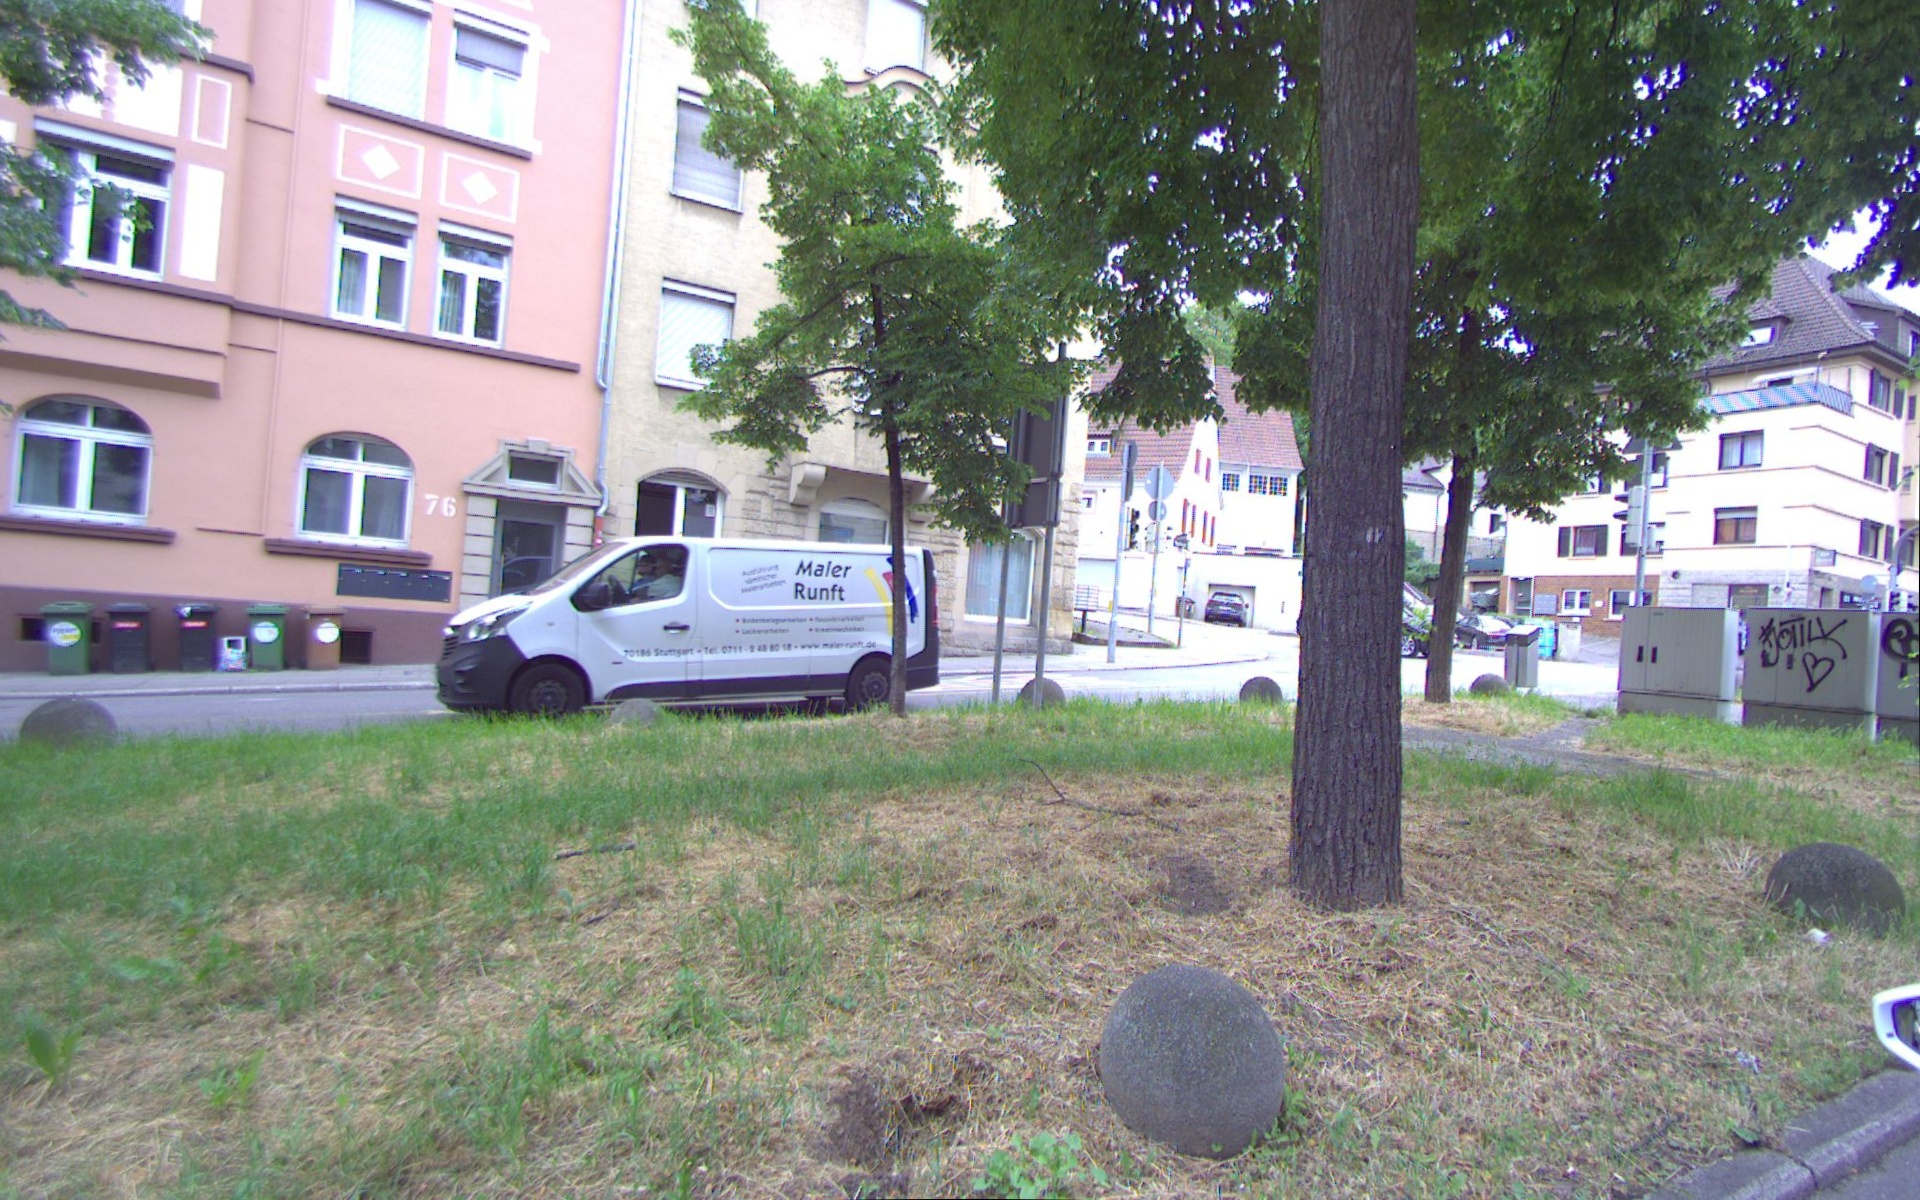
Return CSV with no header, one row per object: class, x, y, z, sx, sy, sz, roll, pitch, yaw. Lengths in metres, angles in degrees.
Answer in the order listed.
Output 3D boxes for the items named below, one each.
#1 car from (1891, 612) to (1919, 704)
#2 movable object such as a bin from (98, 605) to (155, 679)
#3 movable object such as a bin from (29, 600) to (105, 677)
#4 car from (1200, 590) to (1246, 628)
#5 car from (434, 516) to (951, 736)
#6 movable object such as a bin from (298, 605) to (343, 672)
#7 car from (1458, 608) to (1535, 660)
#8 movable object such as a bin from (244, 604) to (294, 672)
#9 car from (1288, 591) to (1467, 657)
car,18.720,1.119,16.877,1.674,1.615,4.222,3,0,-35
movable object such as a bin,-11.160,0.555,13.466,0.528,0.958,0.576,2,0,-36
movable object such as a bin,-11.645,0.492,13.115,0.611,0.961,0.613,2,0,-31
car,11.714,0.369,44.844,1.638,1.424,3.058,7,3,11
car,-2.868,0.257,11.231,5.246,1.971,1.983,1,1,-31
movable object such as a bin,-9.279,0.548,14.572,0.510,0.934,0.752,2,0,-34
car,21.868,1.345,41.068,1.832,1.619,3.519,2,6,13
movable object such as a bin,-9.768,0.532,14.210,0.554,0.934,0.649,2,0,-34
car,11.324,0.622,27.442,1.655,1.541,4.195,2,0,-44
